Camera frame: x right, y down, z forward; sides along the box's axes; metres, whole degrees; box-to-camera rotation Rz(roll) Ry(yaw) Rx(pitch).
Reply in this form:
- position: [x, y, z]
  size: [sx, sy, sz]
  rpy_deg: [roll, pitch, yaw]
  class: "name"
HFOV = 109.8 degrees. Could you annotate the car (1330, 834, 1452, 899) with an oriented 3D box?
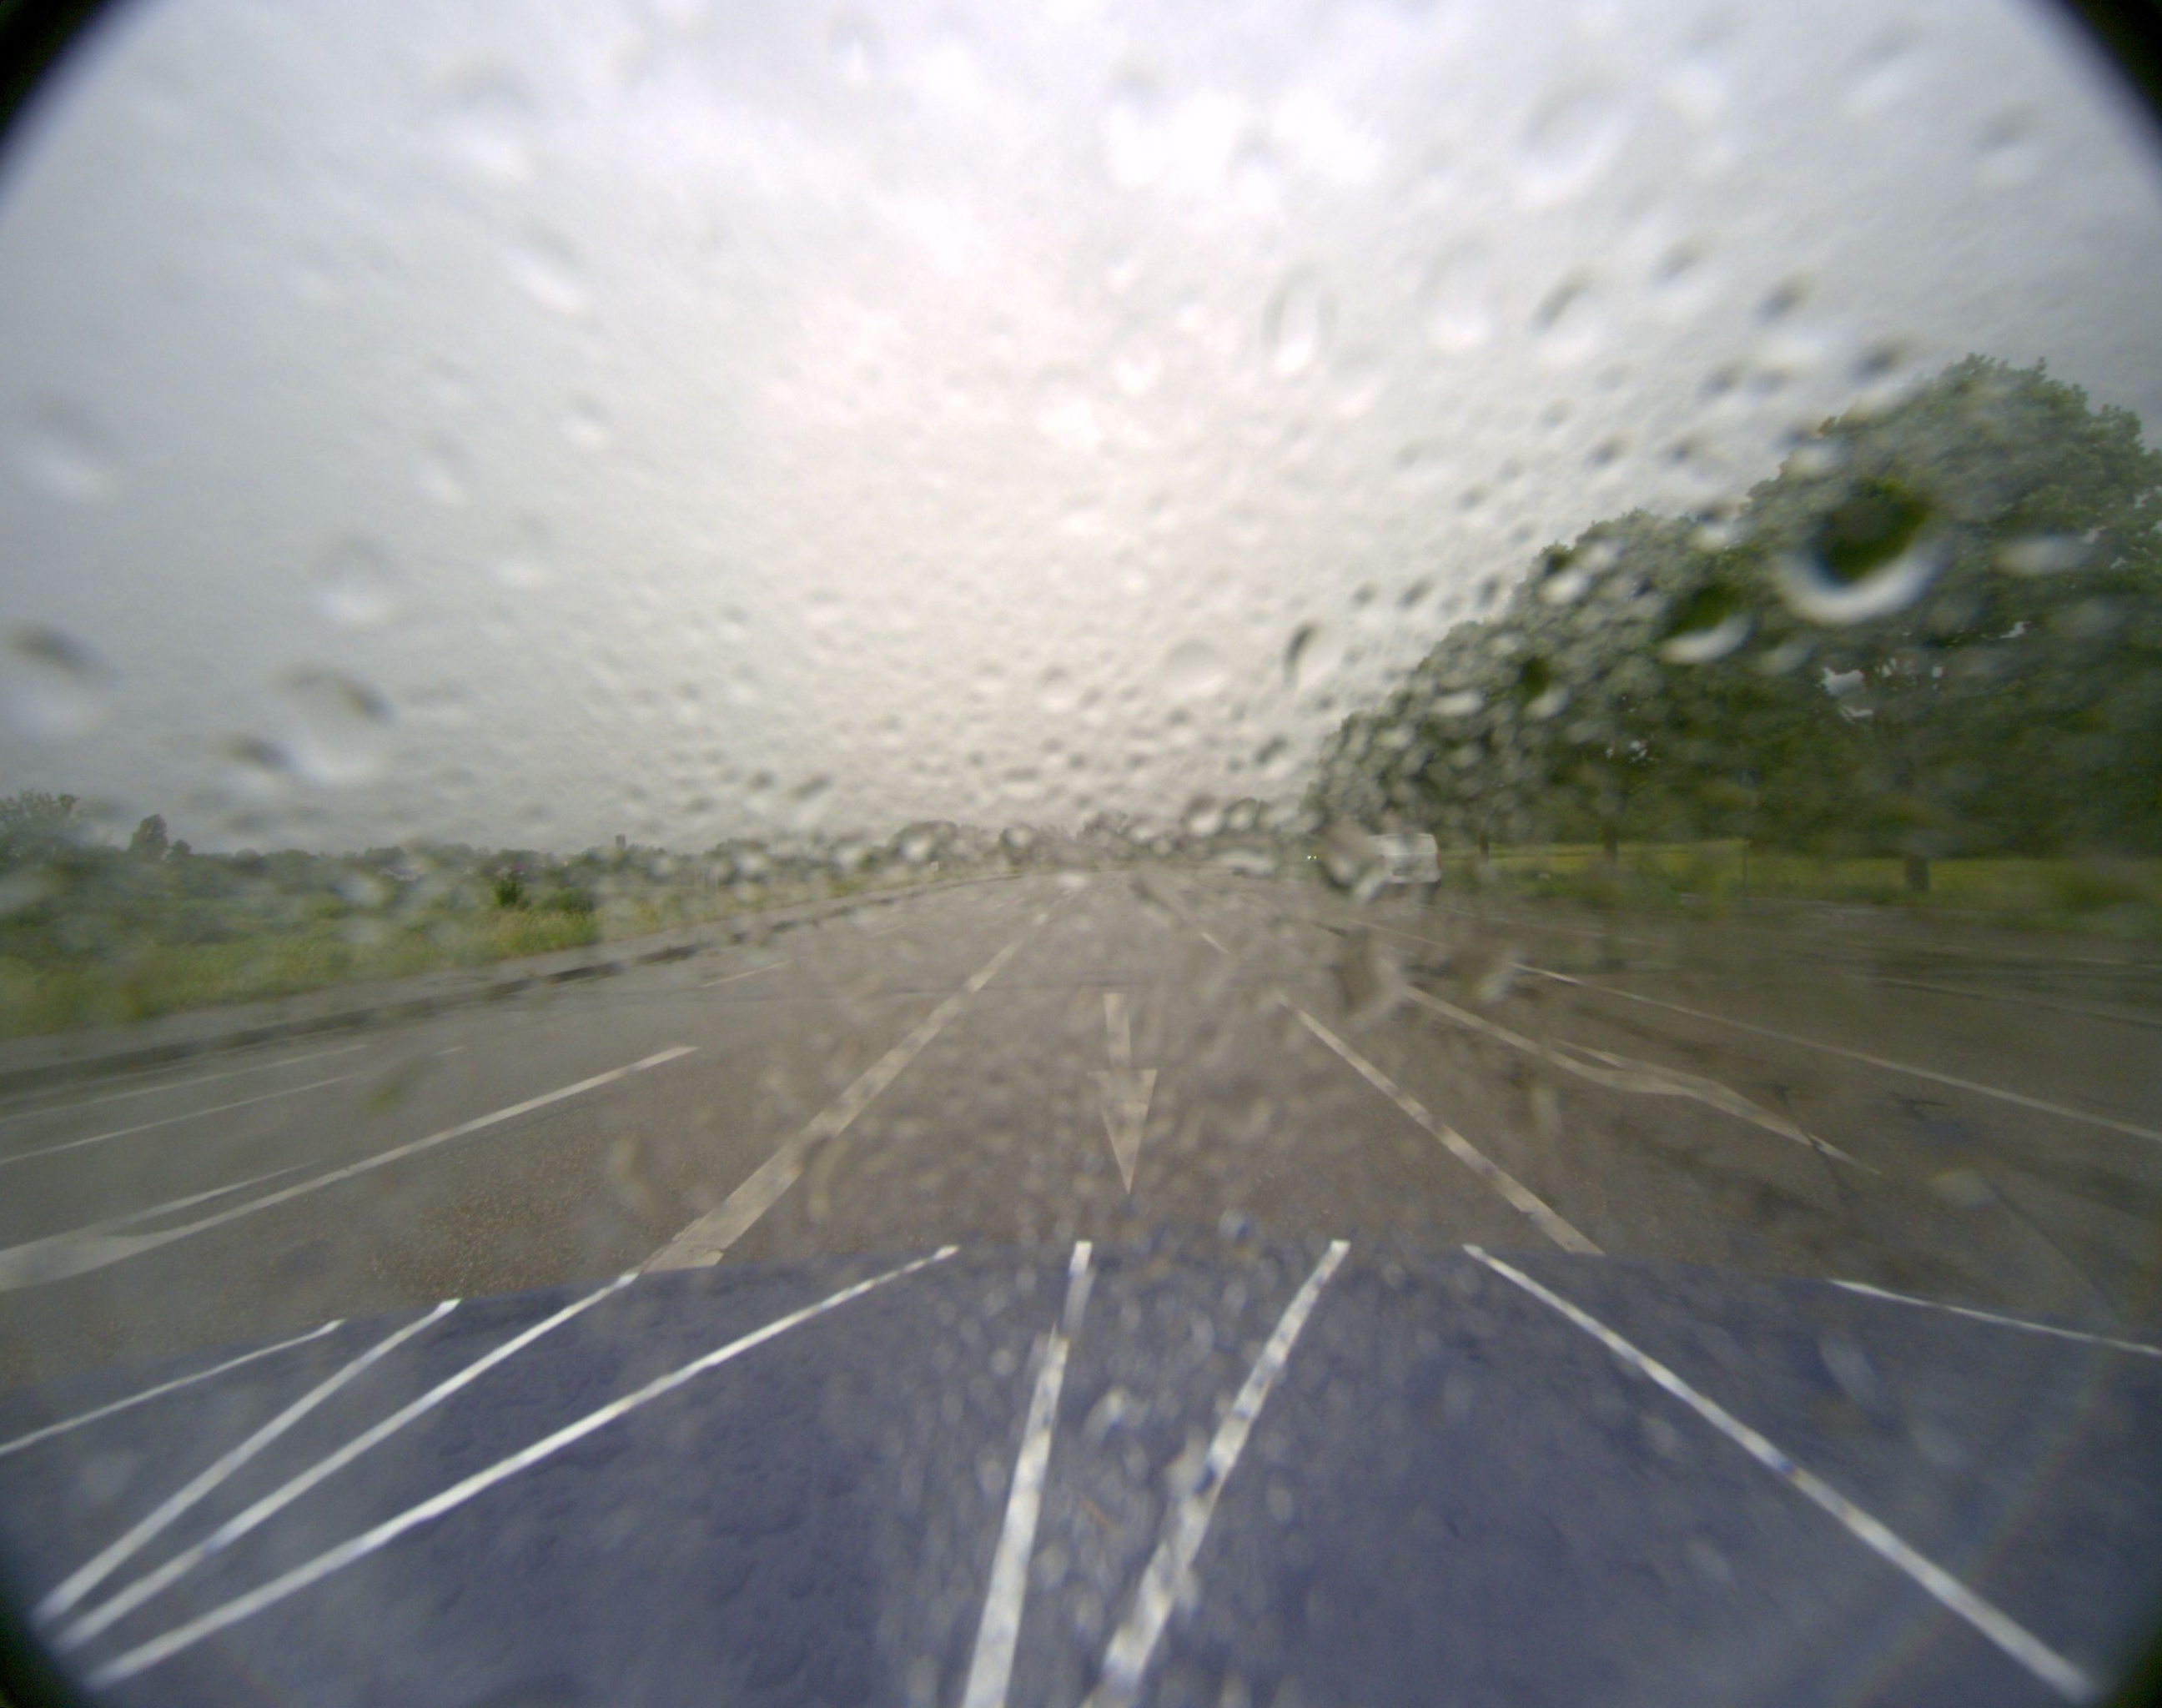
- position: [9.983, 0.337, 24.951]
  size: [2.111, 1.881, 4.790]
  rpy_deg: [-1, 1, 1]
  class: "car"
